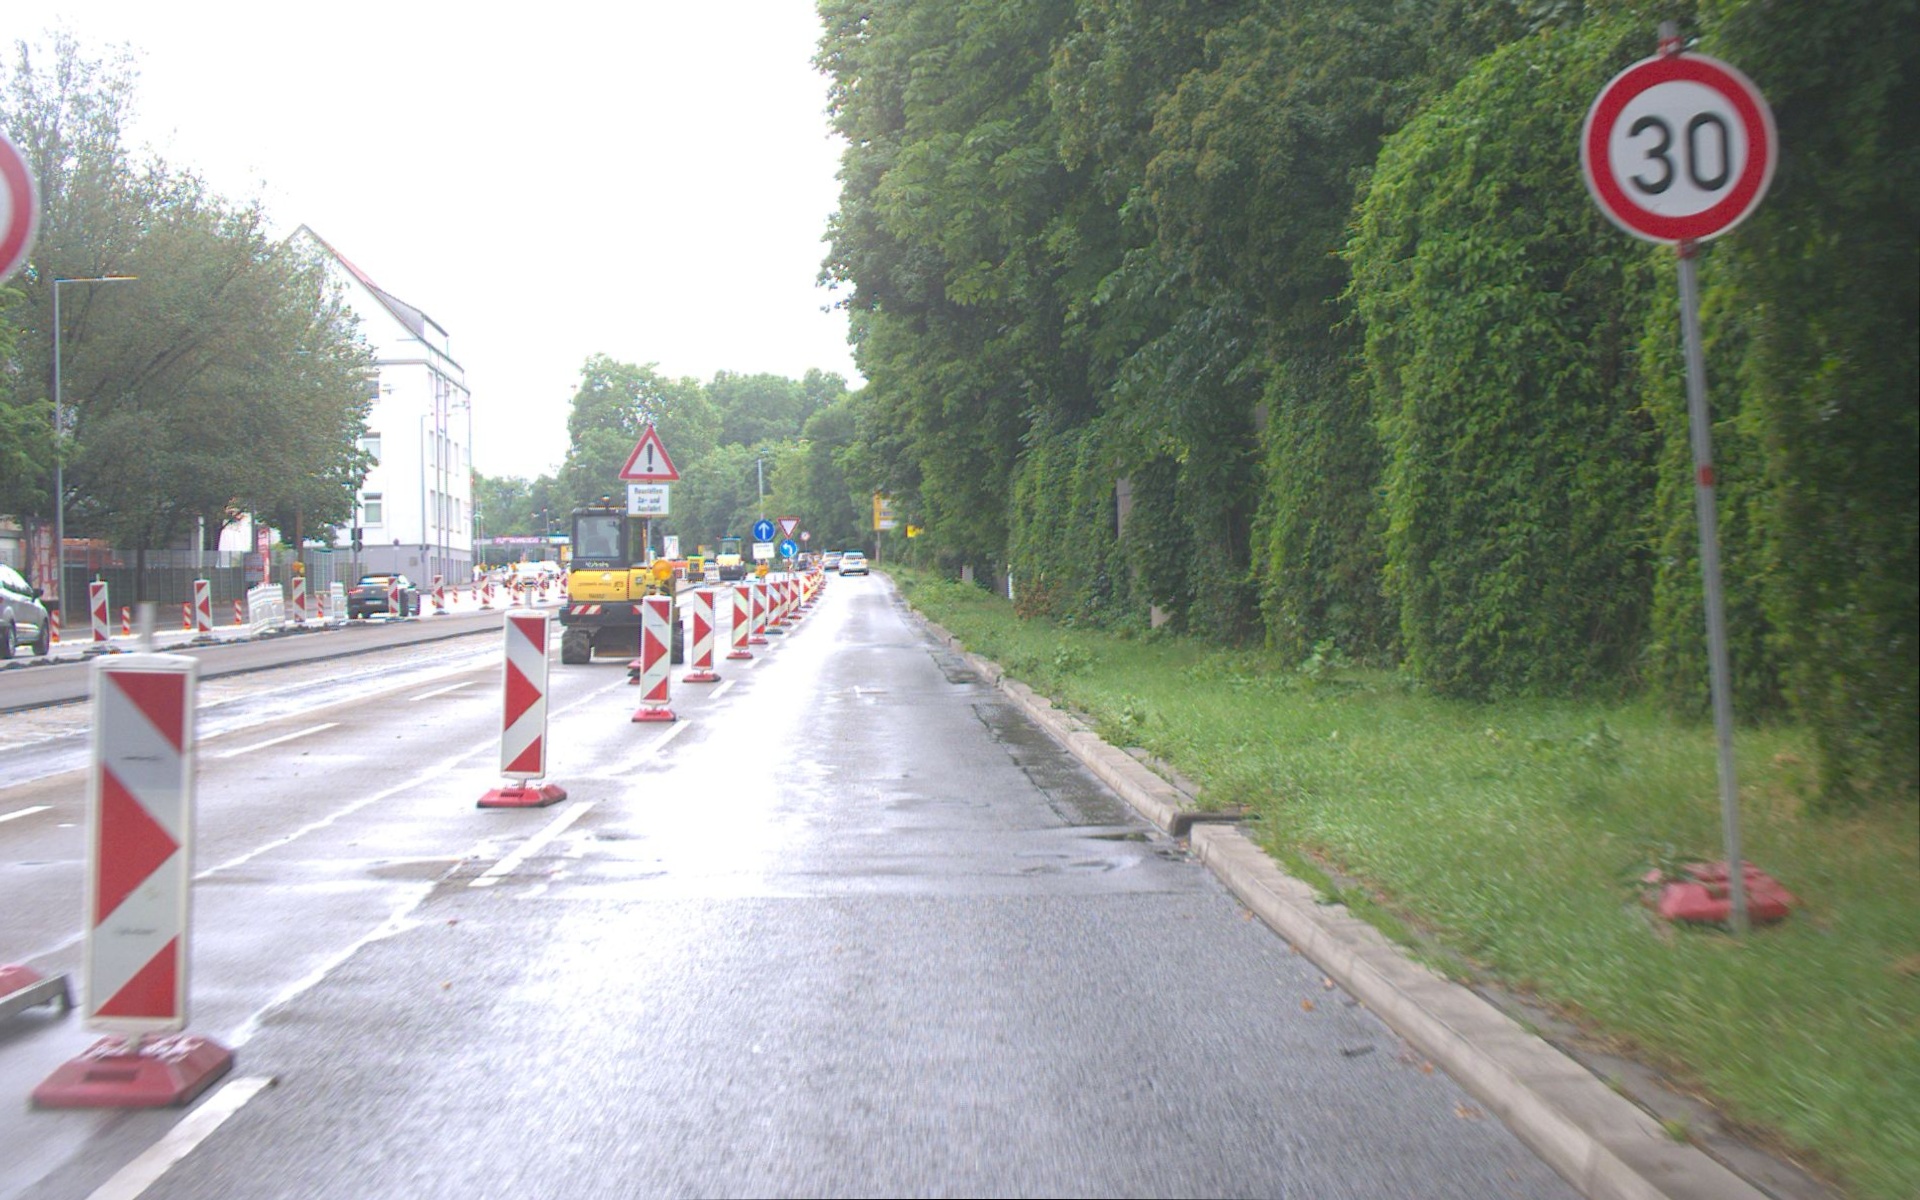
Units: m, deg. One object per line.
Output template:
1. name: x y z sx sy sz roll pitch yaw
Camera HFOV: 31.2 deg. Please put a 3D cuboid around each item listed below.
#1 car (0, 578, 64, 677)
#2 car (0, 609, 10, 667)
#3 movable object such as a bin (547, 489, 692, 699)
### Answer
1. car: -16.827 0.464 59.174 1.854 1.643 4.000 0 0 -2
2. car: -23.076 0.870 77.653 1.993 1.343 4.791 0 0 -1
3. movable object such as a bin: -5.690 -0.082 58.142 1.993 3.356 5.982 0 0 -1
